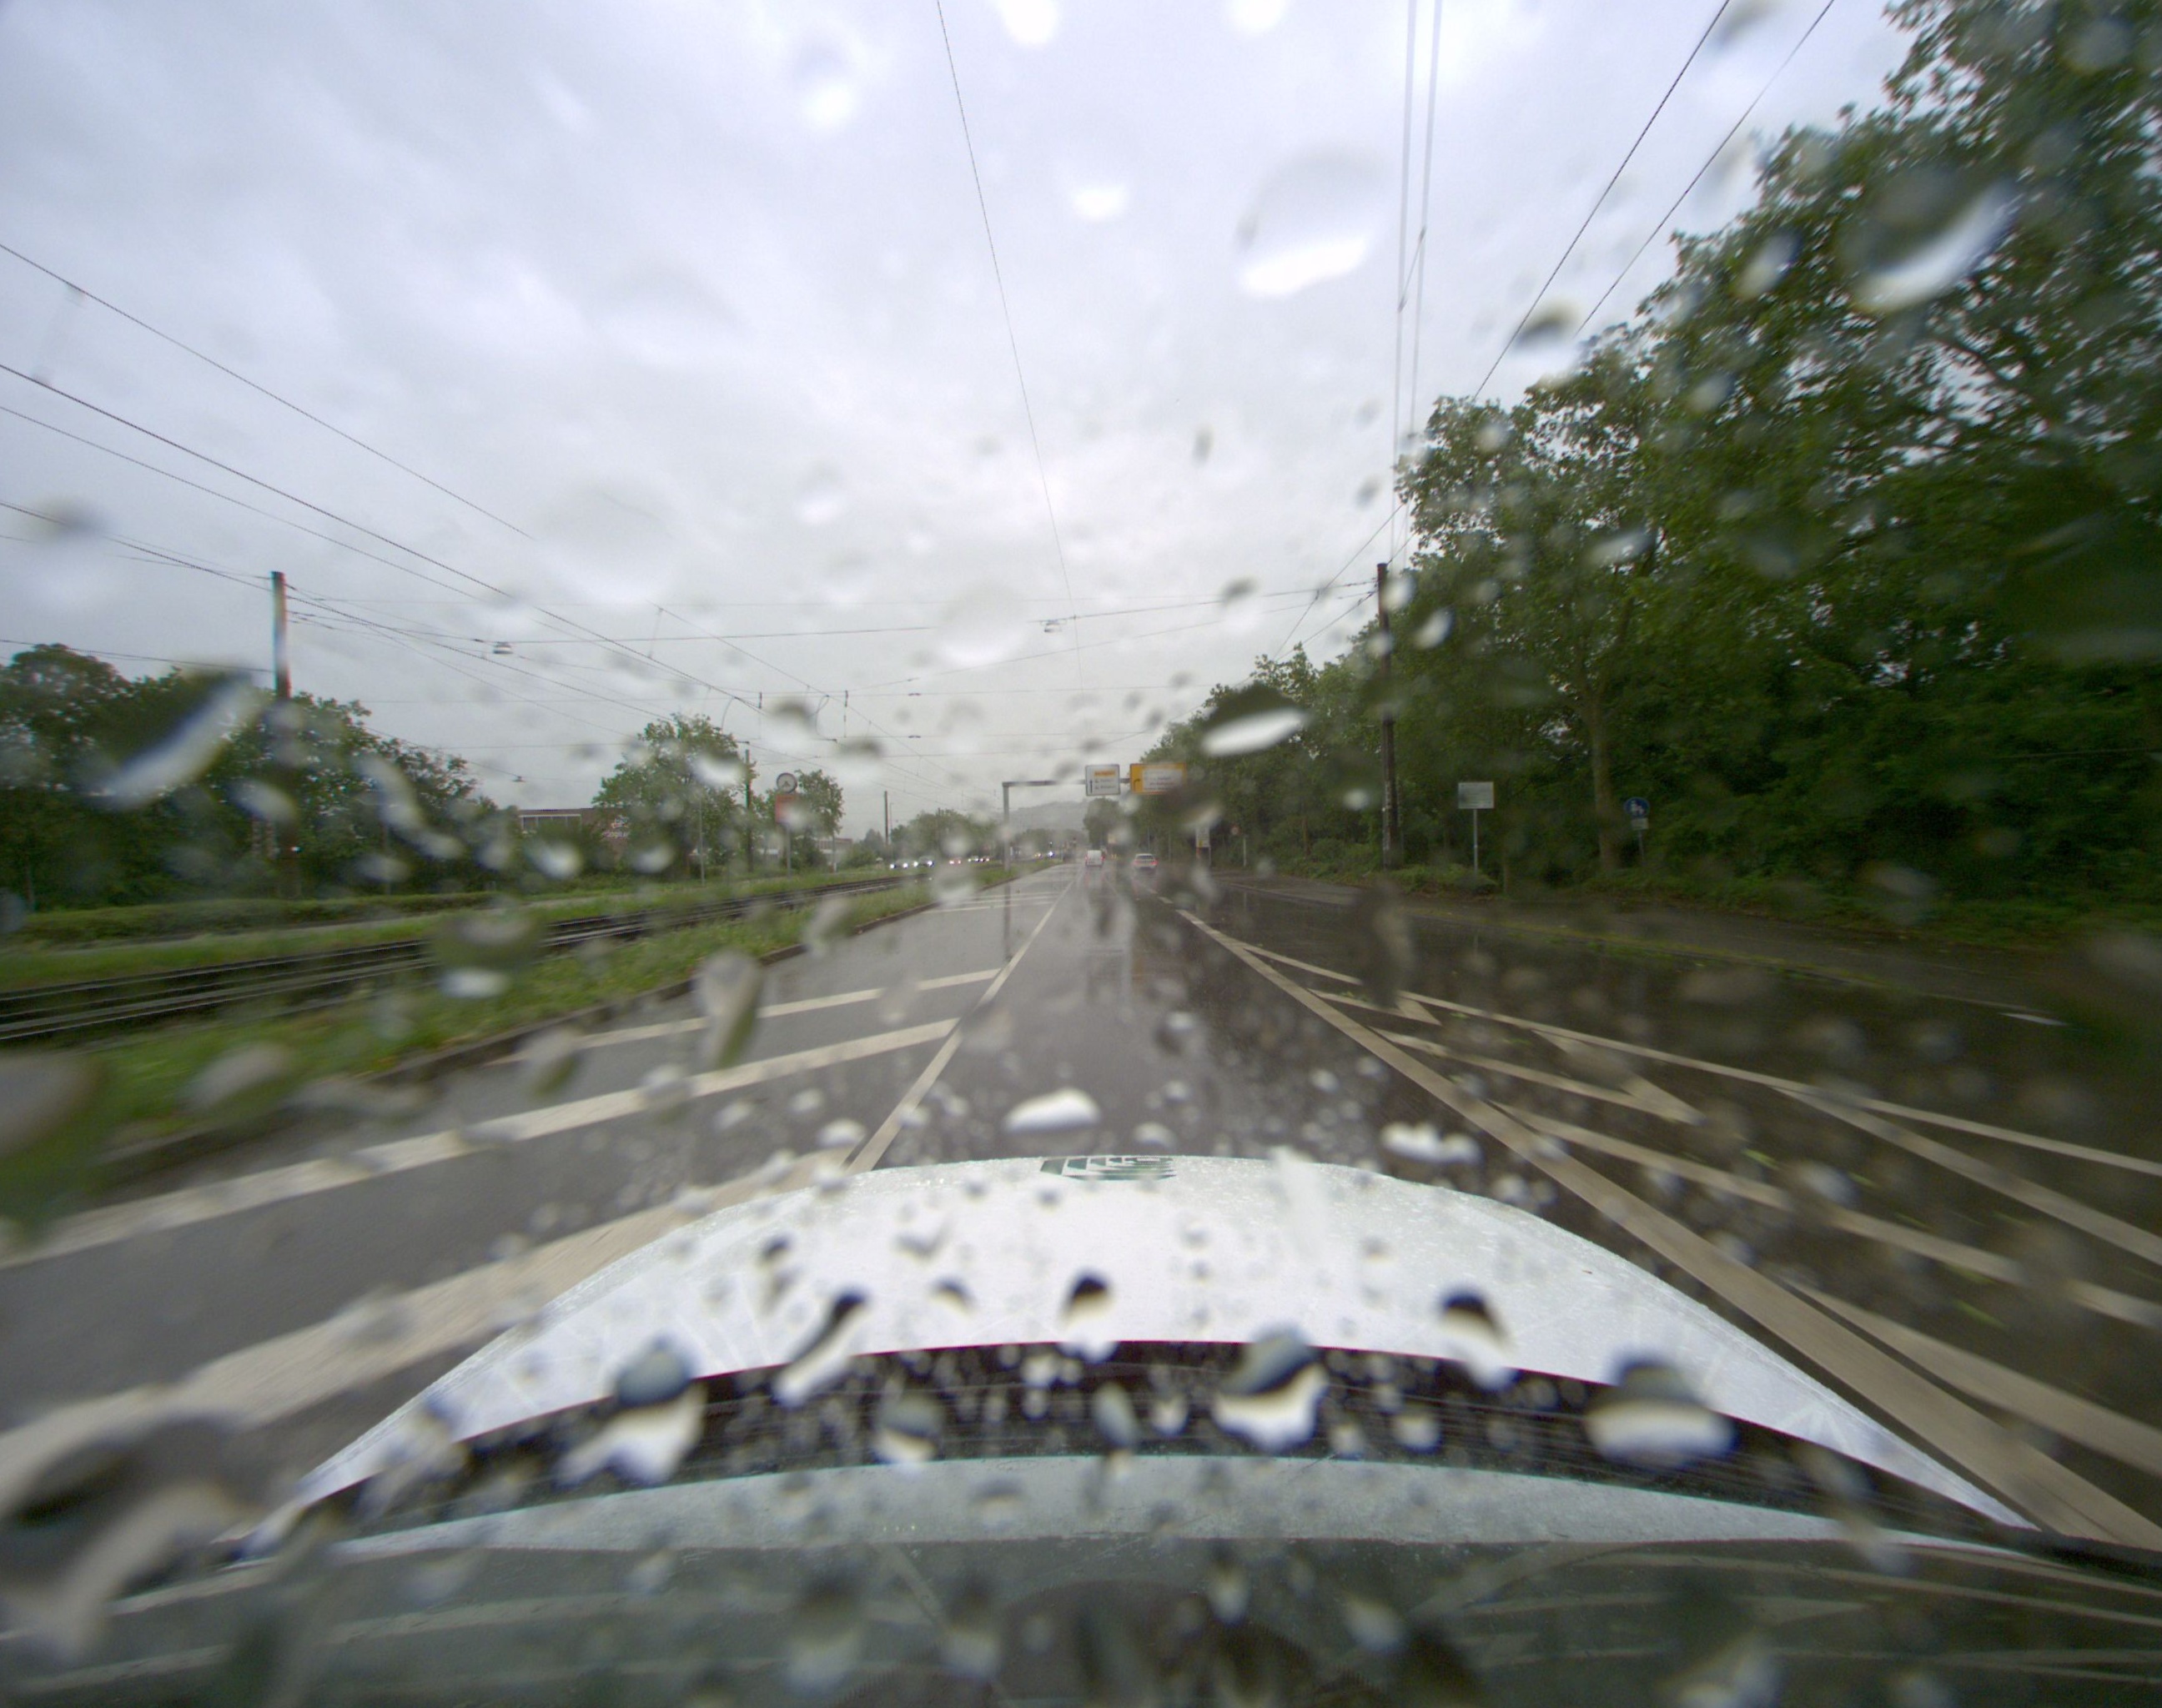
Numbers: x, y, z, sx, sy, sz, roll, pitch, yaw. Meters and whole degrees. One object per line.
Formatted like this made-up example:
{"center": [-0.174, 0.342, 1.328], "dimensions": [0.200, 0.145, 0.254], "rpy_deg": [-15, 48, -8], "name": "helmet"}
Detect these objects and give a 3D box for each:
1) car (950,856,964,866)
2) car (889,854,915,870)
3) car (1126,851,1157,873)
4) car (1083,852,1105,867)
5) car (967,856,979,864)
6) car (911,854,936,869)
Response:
{"center": [-19.988, 1.079, 131.357], "dimensions": [1.715, 1.494, 3.999], "rpy_deg": [-1, 0, 0], "name": "car"}
{"center": [-19.946, 0.864, 91.015], "dimensions": [1.938, 1.686, 4.776], "rpy_deg": [-1, 0, -2], "name": "car"}
{"center": [4.420, 0.565, 60.510], "dimensions": [1.942, 1.536, 4.465], "rpy_deg": [-1, 0, 0], "name": "car"}
{"center": [1.221, 0.503, 78.026], "dimensions": [2.070, 1.420, 4.000], "rpy_deg": [-1, 0, 1], "name": "car"}
{"center": [-19.978, 1.112, 151.191], "dimensions": [1.715, 1.494, 3.999], "rpy_deg": [-1, 0, 0], "name": "car"}
{"center": [-17.176, 0.795, 88.763], "dimensions": [1.939, 1.616, 4.983], "rpy_deg": [-1, 0, -3], "name": "car"}
